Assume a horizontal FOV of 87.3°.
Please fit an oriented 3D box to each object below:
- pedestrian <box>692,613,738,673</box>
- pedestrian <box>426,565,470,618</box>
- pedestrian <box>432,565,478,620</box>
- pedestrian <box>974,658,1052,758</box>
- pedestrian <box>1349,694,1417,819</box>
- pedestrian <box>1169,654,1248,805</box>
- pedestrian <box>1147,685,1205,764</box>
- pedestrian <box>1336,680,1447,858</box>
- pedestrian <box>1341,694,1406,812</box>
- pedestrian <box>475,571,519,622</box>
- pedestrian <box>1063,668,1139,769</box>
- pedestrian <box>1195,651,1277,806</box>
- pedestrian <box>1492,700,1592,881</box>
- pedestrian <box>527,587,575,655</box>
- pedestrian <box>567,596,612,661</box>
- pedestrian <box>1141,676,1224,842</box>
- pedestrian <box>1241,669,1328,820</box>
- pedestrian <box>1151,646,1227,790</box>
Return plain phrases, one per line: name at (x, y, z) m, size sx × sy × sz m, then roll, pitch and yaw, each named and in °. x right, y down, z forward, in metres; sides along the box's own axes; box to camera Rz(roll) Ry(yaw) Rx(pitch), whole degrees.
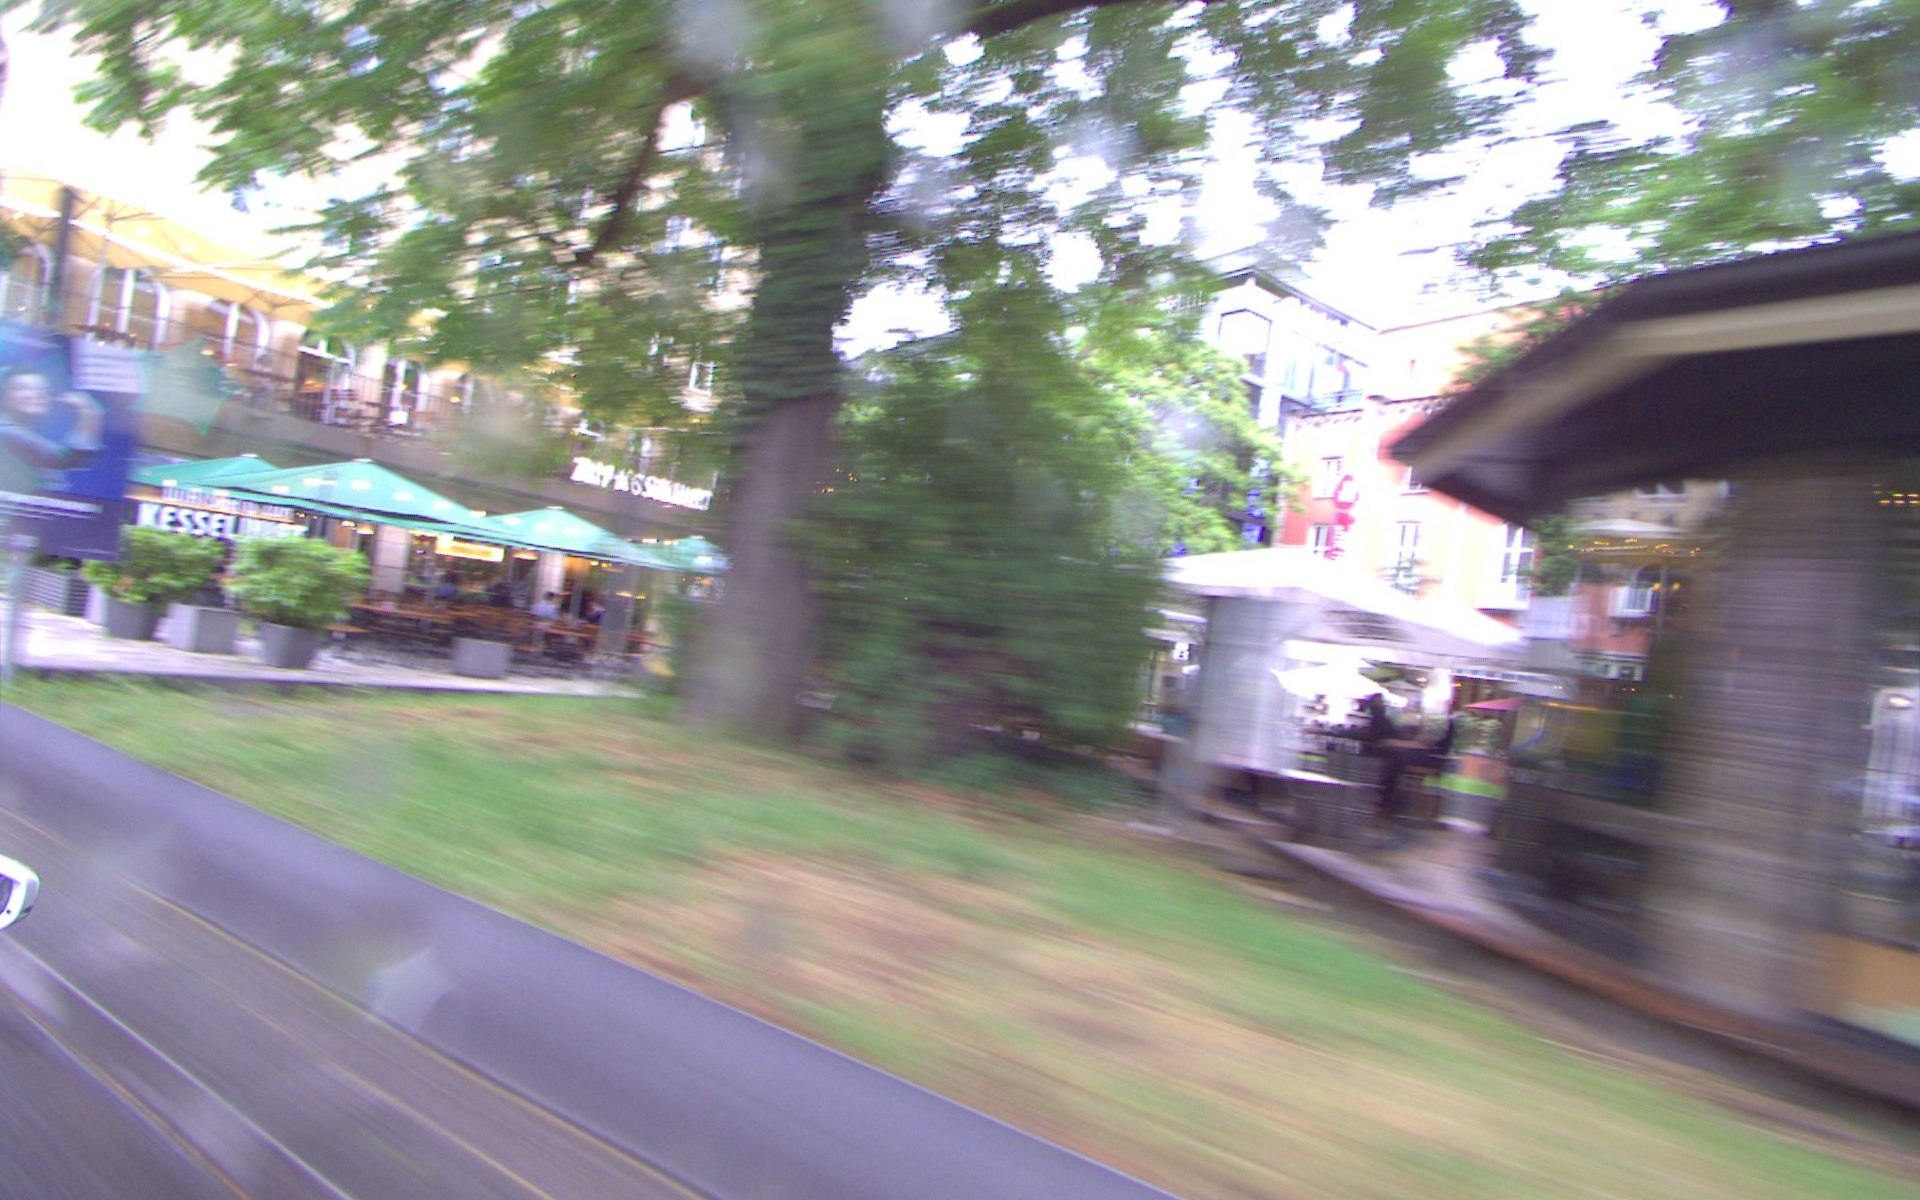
pedestrian at (-6.156, 1.086, 25.322) m, size 0.615 × 1.383 × 0.739 m, roll 7°, pitch -2°, yaw 27°
pedestrian at (-11.441, -0.197, 22.486) m, size 0.536 × 1.067 × 0.555 m, roll 8°, pitch -1°, yaw 32°
pedestrian at (-10.929, -0.160, 21.782) m, size 0.536 × 1.067 × 0.555 m, roll 8°, pitch -1°, yaw 32°
pedestrian at (0.784, 1.619, 15.169) m, size 0.634 × 1.342 × 0.941 m, roll 9°, pitch -2°, yaw -26°
pedestrian at (6.166, 2.267, 14.681) m, size 0.493 × 1.699 × 0.545 m, roll 9°, pitch -2°, yaw -22°
pedestrian at (3.238, 1.678, 13.146) m, size 0.493 × 1.856 × 0.638 m, roll 9°, pitch -2°, yaw -22°
pedestrian at (3.778, 2.175, 17.612) m, size 0.627 × 1.254 × 0.572 m, roll 9°, pitch -2°, yaw -29°
pedestrian at (4.480, 1.740, 10.471) m, size 0.564 × 1.699 × 0.680 m, roll 9°, pitch -2°, yaw -21°
pedestrian at (6.336, 2.334, 15.435) m, size 0.493 × 1.699 × 0.545 m, roll 9°, pitch -2°, yaw -22°
pedestrian at (-10.843, -0.077, 23.576) m, size 0.641 × 1.067 × 0.555 m, roll 8°, pitch -1°, yaw 32°
pedestrian at (2.080, 1.738, 14.844) m, size 0.711 × 1.342 × 0.637 m, roll 9°, pitch -2°, yaw -28°
pedestrian at (3.214, 1.491, 11.752) m, size 0.493 × 1.699 × 0.545 m, roll 9°, pitch -2°, yaw -22°
pedestrian at (5.849, 1.902, 10.127) m, size 0.493 × 1.699 × 0.498 m, roll 9°, pitch -2°, yaw -20°
pedestrian at (-8.530, 0.450, 21.003) m, size 0.418 × 1.337 × 0.649 m, roll 7°, pitch -2°, yaw 26°
pedestrian at (-8.062, 0.632, 21.913) m, size 0.418 × 1.337 × 0.649 m, roll 7°, pitch -2°, yaw 26°
pedestrian at (2.044, 1.448, 9.259) m, size 0.512 × 1.433 × 0.342 m, roll 8°, pitch -2°, yaw 1°
pedestrian at (3.922, 1.736, 12.167) m, size 0.597 × 1.699 × 0.544 m, roll 9°, pitch -2°, yaw -22°
pedestrian at (2.858, 1.462, 12.568) m, size 0.493 × 1.699 × 0.545 m, roll 9°, pitch -2°, yaw -22°
